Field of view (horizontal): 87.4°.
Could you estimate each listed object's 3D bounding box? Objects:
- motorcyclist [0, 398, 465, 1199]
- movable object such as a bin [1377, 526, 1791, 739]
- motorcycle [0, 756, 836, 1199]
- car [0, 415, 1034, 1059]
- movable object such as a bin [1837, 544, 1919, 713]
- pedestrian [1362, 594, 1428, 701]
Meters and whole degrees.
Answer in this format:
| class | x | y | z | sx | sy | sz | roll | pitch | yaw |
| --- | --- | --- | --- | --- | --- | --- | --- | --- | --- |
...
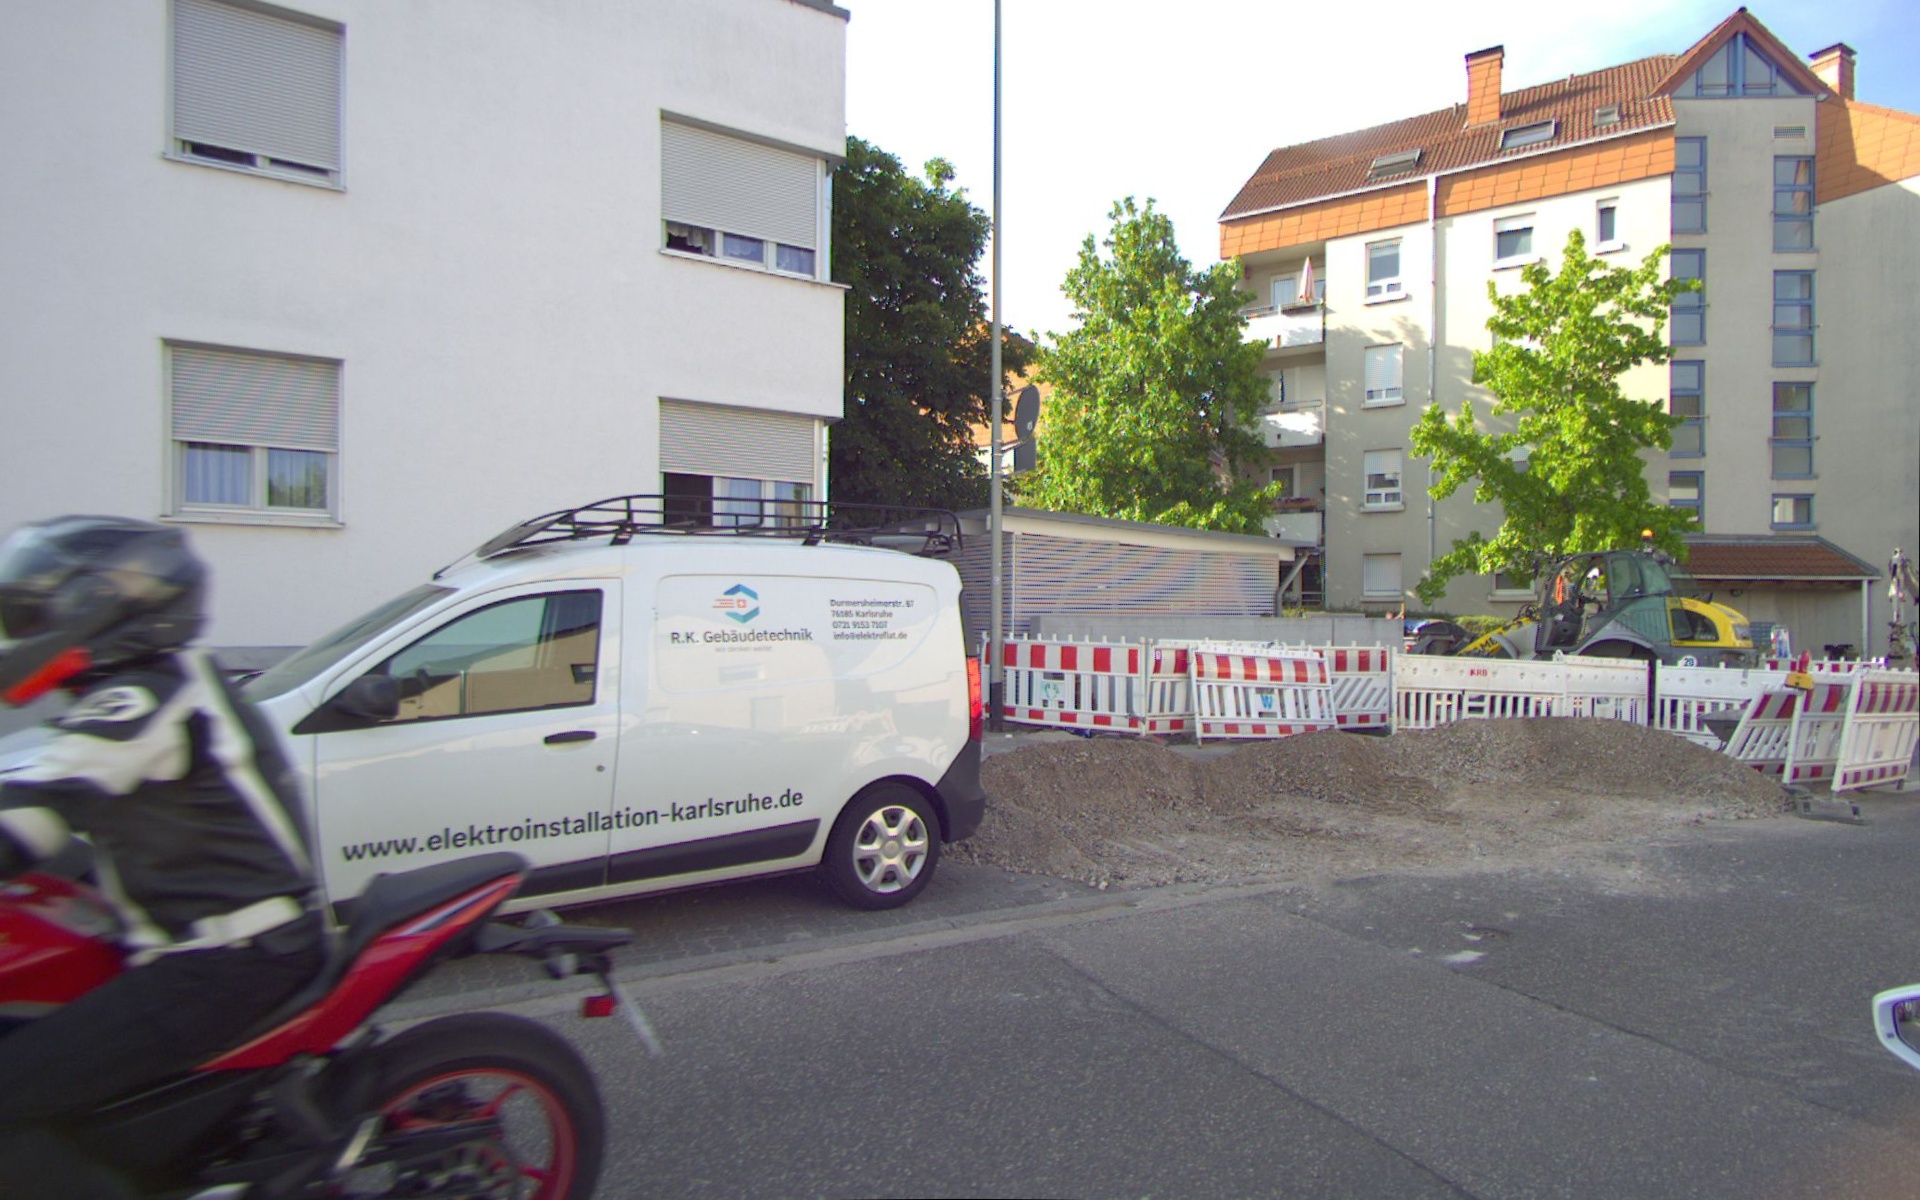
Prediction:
| class | x | y | z | sx | sy | sz | roll | pitch | yaw |
| --- | --- | --- | --- | --- | --- | --- | --- | --- | --- |
| motorcyclist | -1.401 | 0.560 | 1.816 | 0.834 | 1.674 | 0.765 | 1 | -1 | -31 |
| movable object such as a bin | 10.048 | 0.423 | 16.609 | 2.096 | 2.939 | 5.446 | 0 | 1 | -42 |
| motorcycle | -1.380 | 0.900 | 1.828 | 2.174 | 0.998 | 0.764 | 1 | -1 | -31 |
| car | -1.911 | 0.438 | 4.814 | 4.391 | 1.987 | 1.717 | 1 | 0 | -33 |
| movable object such as a bin | 19.477 | 0.558 | 20.176 | 3.853 | 3.180 | 1.640 | 1 | -1 | -30 |
| pedestrian | 8.467 | 0.911 | 19.574 | 0.878 | 2.045 | 0.765 | 1 | 0 | -16 |
